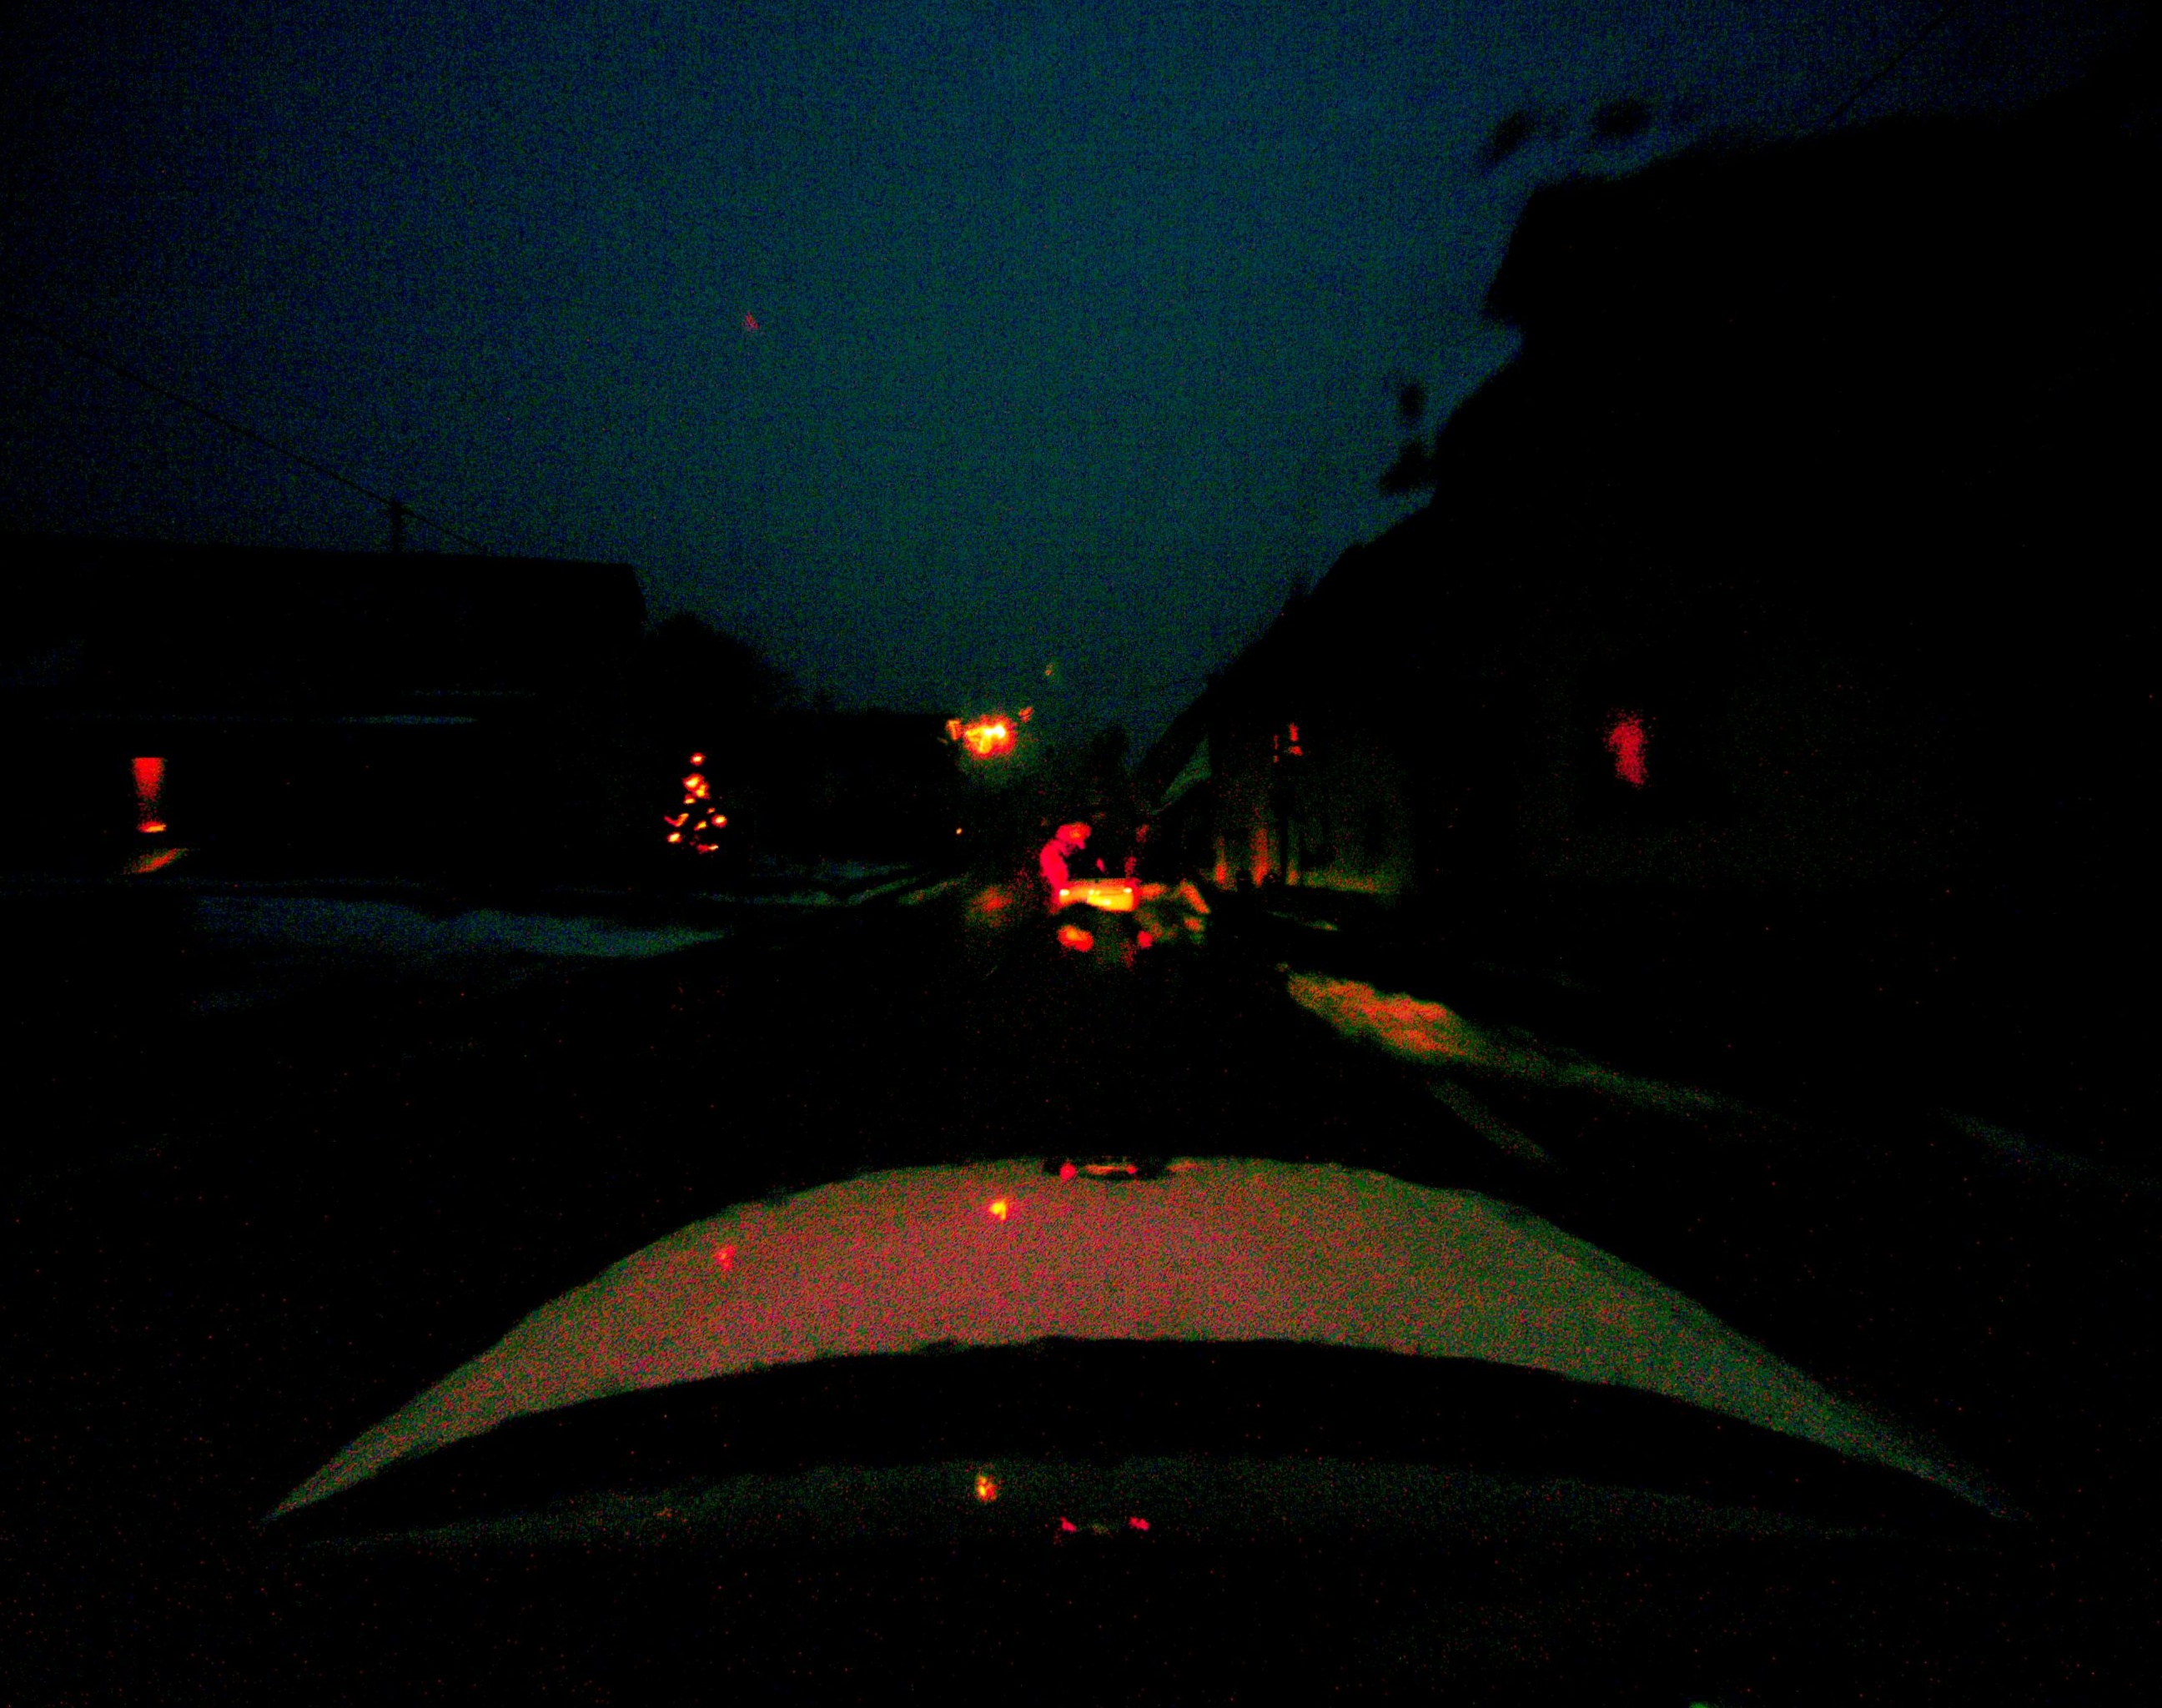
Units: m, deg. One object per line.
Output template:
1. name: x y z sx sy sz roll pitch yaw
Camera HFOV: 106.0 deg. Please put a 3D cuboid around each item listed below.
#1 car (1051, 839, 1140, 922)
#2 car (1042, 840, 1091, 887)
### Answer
1. car: 0.216 0.535 17.637 1.642 1.596 3.695 0 0 -3
2. car: -0.600 0.336 29.826 1.642 1.596 3.695 0 0 -3
